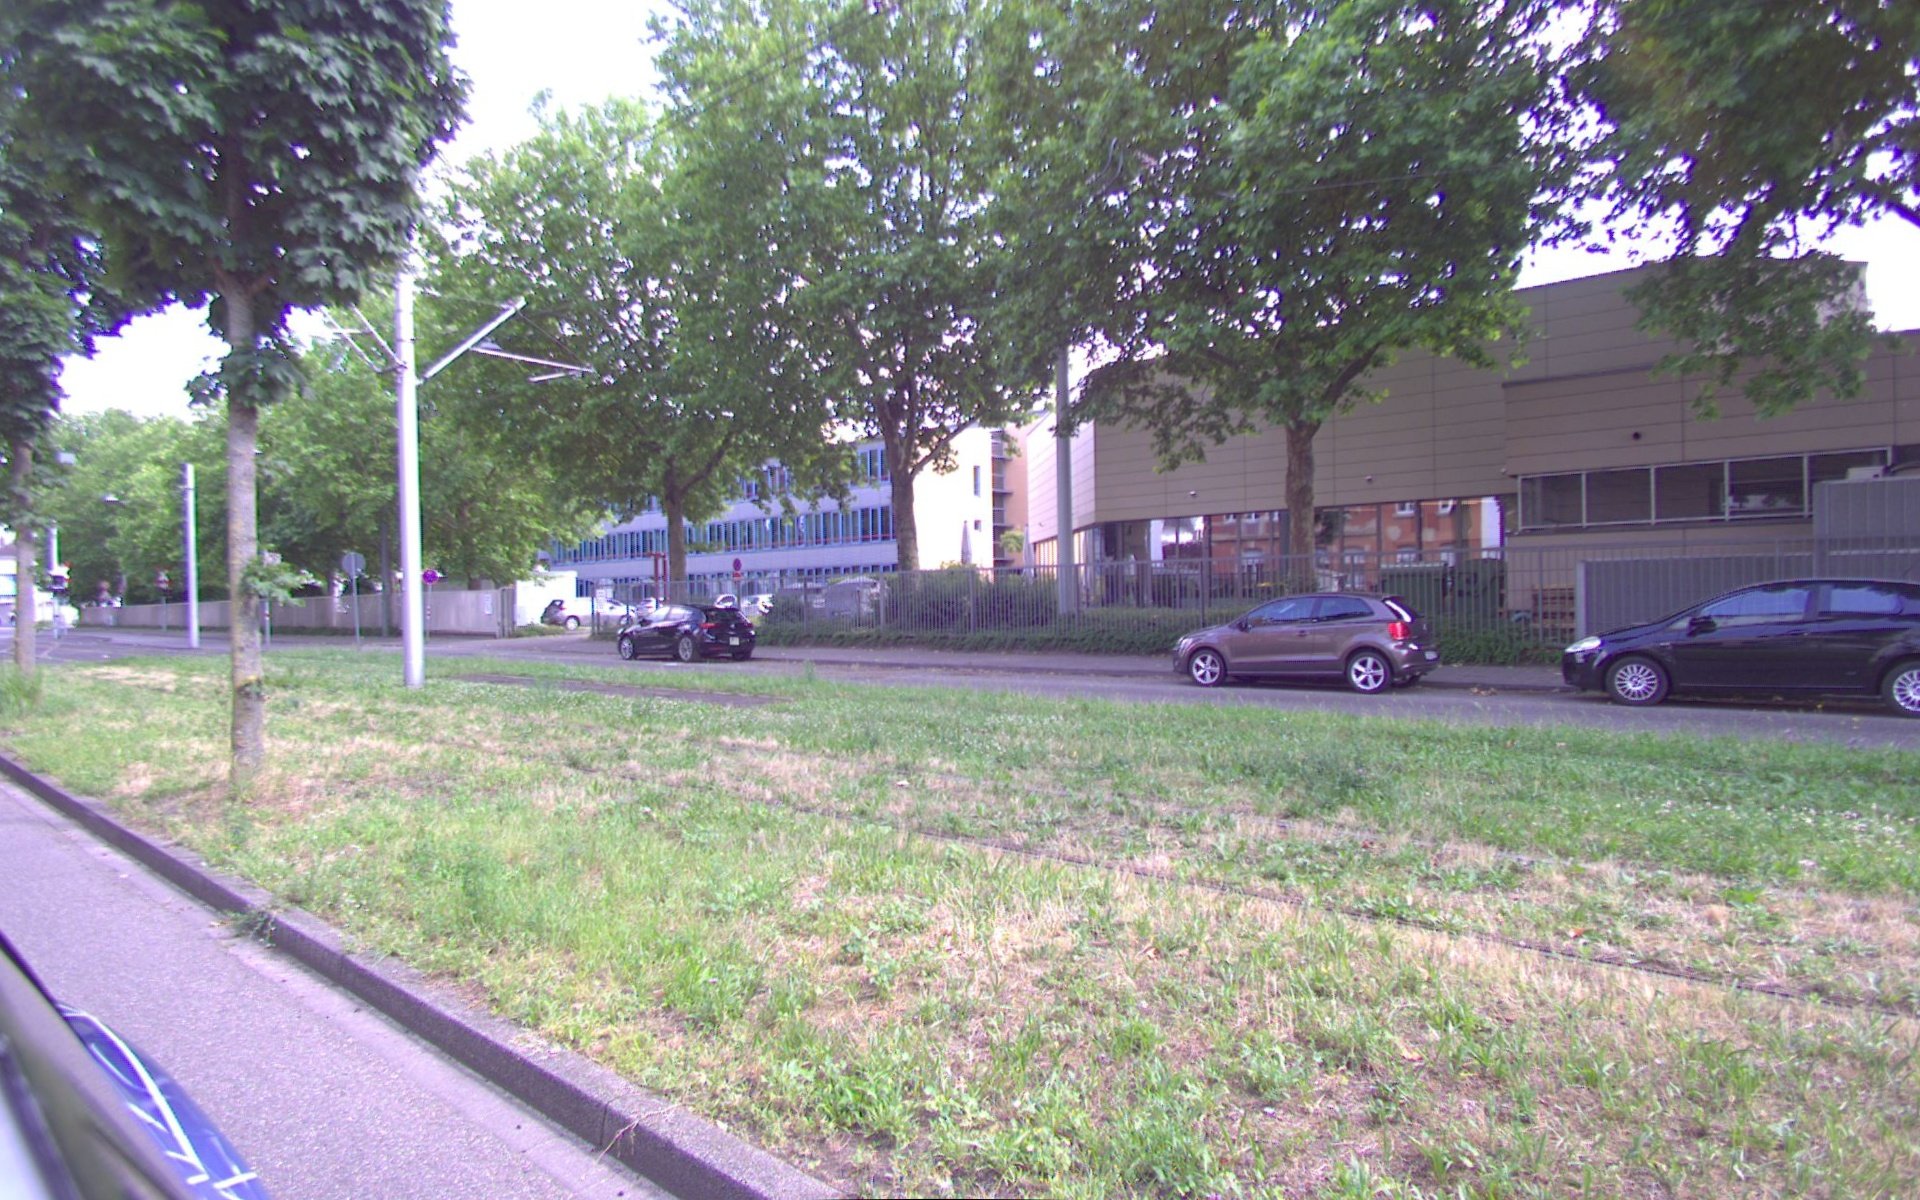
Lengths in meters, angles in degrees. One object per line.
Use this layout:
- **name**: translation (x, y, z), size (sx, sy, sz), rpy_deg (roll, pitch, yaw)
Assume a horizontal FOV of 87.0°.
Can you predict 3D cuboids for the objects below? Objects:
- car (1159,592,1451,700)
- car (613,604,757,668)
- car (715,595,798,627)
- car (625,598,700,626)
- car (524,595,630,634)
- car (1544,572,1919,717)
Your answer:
- **car**: translation (5.156, 0.645, 15.401), size (3.899, 1.436, 1.538), rpy_deg (-1, 0, 40)
- **car**: translation (-6.987, 0.875, 25.518), size (3.999, 1.475, 1.580), rpy_deg (-1, 0, 42)
- **car**: translation (-10.719, 0.566, 53.479), size (1.998, 1.630, 3.948), rpy_deg (-1, 0, 39)
- **car**: translation (-17.780, 0.685, 60.597), size (1.998, 1.630, 3.948), rpy_deg (-1, 0, 39)
- **car**: translation (-16.923, 0.603, 44.890), size (1.998, 1.630, 3.948), rpy_deg (-1, 0, 39)
- **car**: translation (9.303, 0.456, 11.822), size (4.000, 1.464, 1.783), rpy_deg (-1, 0, 43)
